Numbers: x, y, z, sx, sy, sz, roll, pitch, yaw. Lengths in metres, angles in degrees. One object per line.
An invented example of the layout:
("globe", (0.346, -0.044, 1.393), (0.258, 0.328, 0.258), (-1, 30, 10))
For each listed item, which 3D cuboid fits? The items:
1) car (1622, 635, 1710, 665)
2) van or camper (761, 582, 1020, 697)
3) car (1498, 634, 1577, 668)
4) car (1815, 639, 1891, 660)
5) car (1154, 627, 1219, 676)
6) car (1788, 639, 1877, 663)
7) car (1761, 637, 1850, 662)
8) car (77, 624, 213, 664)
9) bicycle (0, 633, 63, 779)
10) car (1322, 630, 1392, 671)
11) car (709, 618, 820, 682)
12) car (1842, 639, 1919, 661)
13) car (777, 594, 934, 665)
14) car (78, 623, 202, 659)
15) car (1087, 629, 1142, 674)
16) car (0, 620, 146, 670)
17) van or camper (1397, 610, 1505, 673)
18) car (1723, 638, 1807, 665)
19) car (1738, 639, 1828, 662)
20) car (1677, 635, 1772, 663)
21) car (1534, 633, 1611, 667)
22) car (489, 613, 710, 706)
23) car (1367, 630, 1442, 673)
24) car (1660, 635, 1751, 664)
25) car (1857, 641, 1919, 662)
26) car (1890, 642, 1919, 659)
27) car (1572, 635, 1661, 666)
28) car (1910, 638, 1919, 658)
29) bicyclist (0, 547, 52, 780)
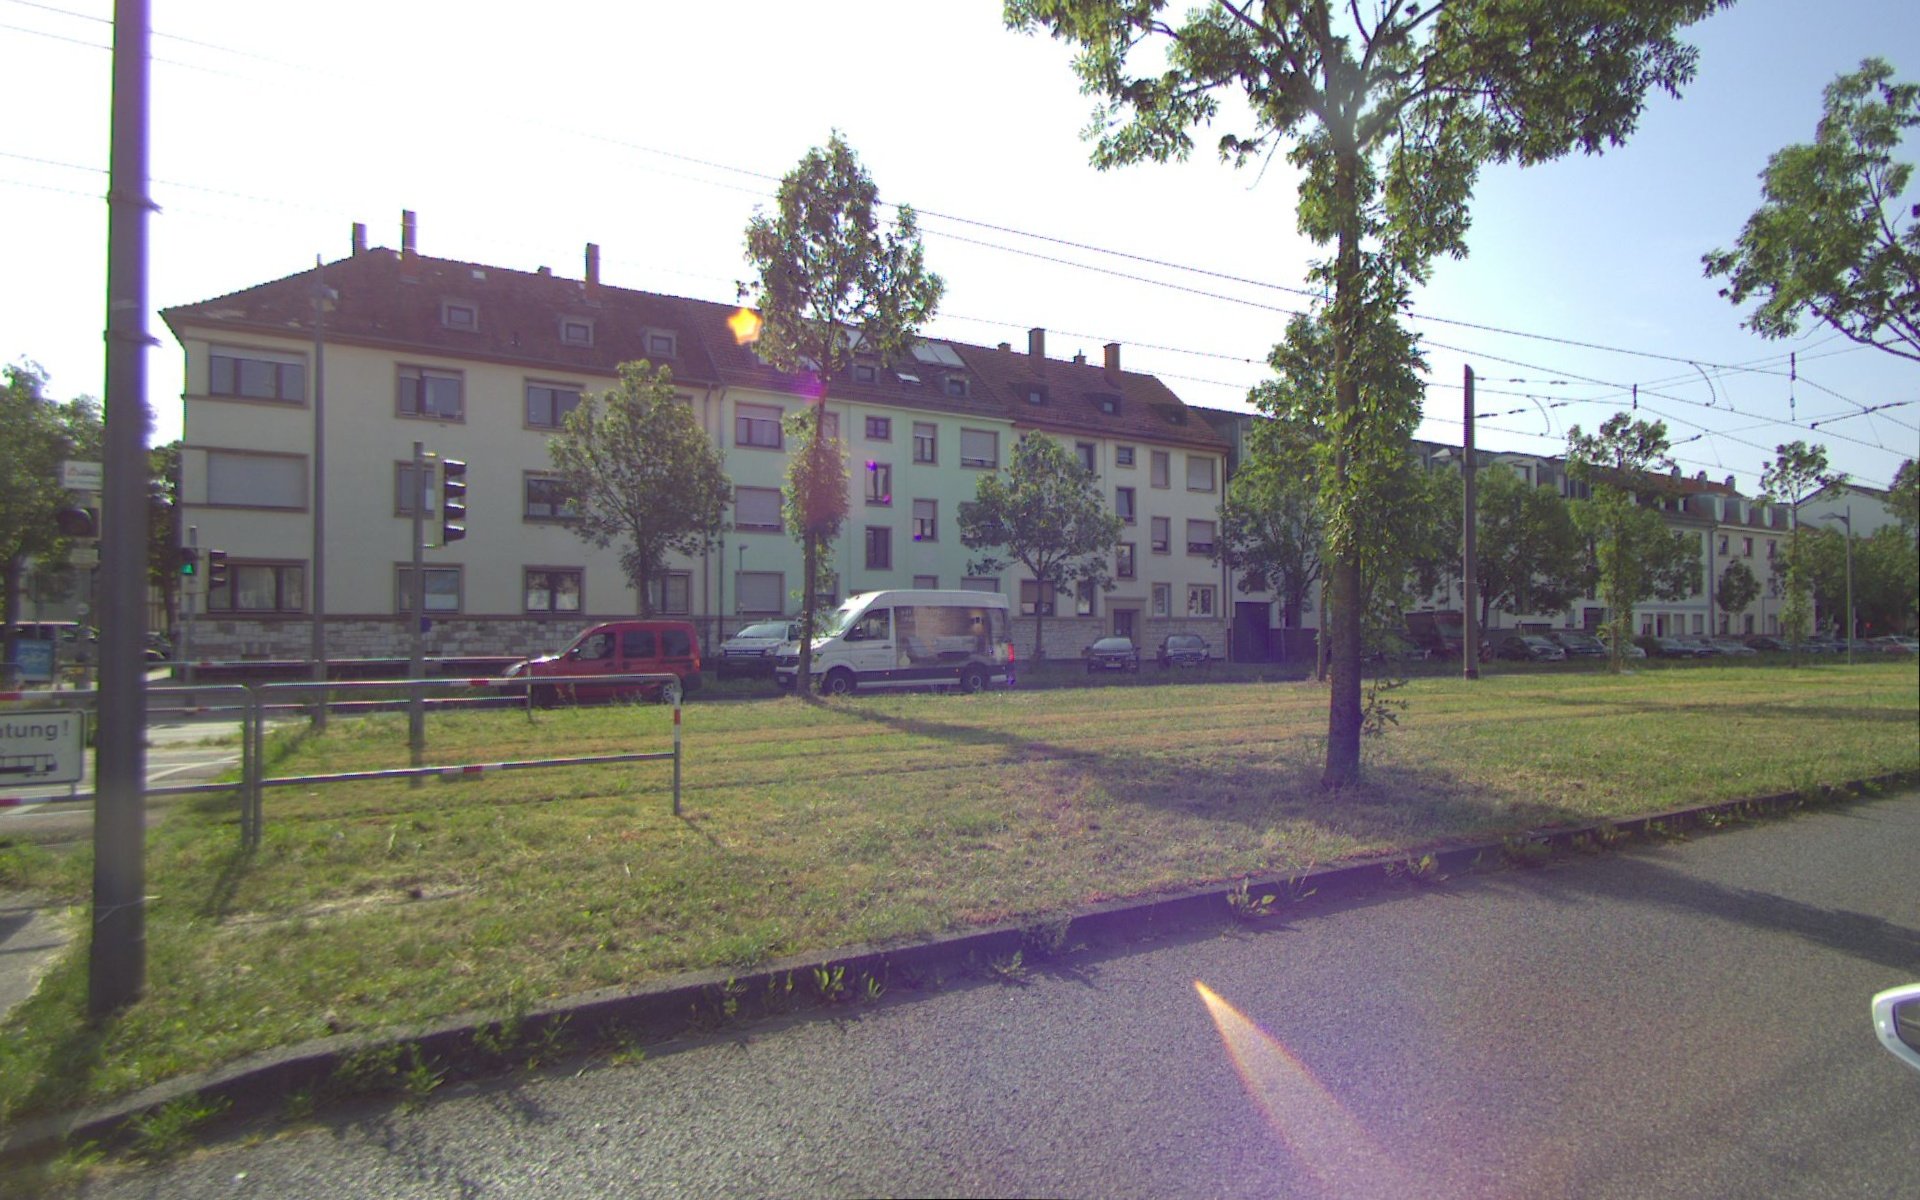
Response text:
("car", (38.362, 2.697, 54.687), (1.800, 1.394, 3.998), (2, -1, -3))
("van or camper", (-1.598, 1.012, 24.380), (5.989, 2.506, 2.131), (2, -4, -31))
("car", (27.372, 2.388, 47.757), (1.746, 1.439, 4.002), (1, -1, 5))
("car", (59.699, 3.288, 67.251), (1.665, 1.251, 4.002), (1, -1, 3))
("car", (8.013, 1.780, 35.818), (1.959, 1.550, 4.353), (1, -1, 9))
("car", (54.717, 3.173, 63.063), (1.961, 1.305, 4.058), (2, -1, -3))
("car", (52.248, 3.047, 62.189), (1.962, 1.305, 3.998), (2, -1, -4))
("car", (-32.708, 1.730, 40.389), (1.848, 1.514, 3.982), (-1, -2, 39))
("bicycle", (-8.052, 0.869, 7.959), (0.567, 1.161, 1.789), (2, -1, -12))
("car", (16.941, 2.113, 43.061), (1.831, 1.529, 4.156), (4, -1, 8))
("car", (-5.293, 1.315, 27.788), (1.776, 1.549, 4.102), (1, -1, 7))
("car", (63.178, 3.421, 68.996), (1.838, 1.275, 4.001), (1, -1, 3))
("car", (-3.874, 1.112, 37.638), (5.511, 2.496, 1.984), (2, -1, -30))
("car", (-36.327, 1.778, 44.571), (1.848, 1.514, 3.982), (-1, -2, 39))
("car", (5.301, 1.743, 34.765), (1.737, 1.360, 3.780), (1, -1, 7))
("car", (-28.765, 1.403, 31.735), (1.579, 1.490, 4.491), (-1, -2, 28))
("van or camper", (21.806, 1.806, 44.938), (2.365, 2.580, 6.166), (1, -2, 6))
("car", (46.338, 2.943, 57.938), (1.633, 1.394, 3.778), (2, -1, -4))
("car", (49.350, 2.989, 60.337), (1.962, 1.305, 3.998), (0, -2, -4))
("car", (43.795, 2.793, 57.671), (1.962, 1.394, 4.337), (2, -1, -4))
("car", (29.617, 2.395, 48.679), (1.609, 1.453, 3.723), (1, -1, 3))
("car", (-7.497, 1.236, 20.962), (4.111, 1.760, 1.808), (2, -4, -29))
("car", (19.138, 2.176, 43.472), (1.831, 1.637, 4.156), (4, -1, 8))
("car", (40.710, 2.678, 54.975), (1.890, 1.394, 3.998), (2, -1, -3))
("car", (65.458, 3.572, 70.227), (1.849, 1.286, 4.000), (1, -1, 0))
("car", (71.469, 3.797, 74.408), (1.959, 1.194, 4.003), (1, -1, 11))
("car", (32.802, 2.490, 50.352), (1.699, 1.338, 4.401), (1, -1, 3))
("car", (73.926, 3.616, 75.018), (1.959, 1.534, 4.468), (0, -2, 6))
("bicyclist", (-8.135, 0.501, 7.942), (0.895, 1.875, 1.185), (2, 0, -12))
